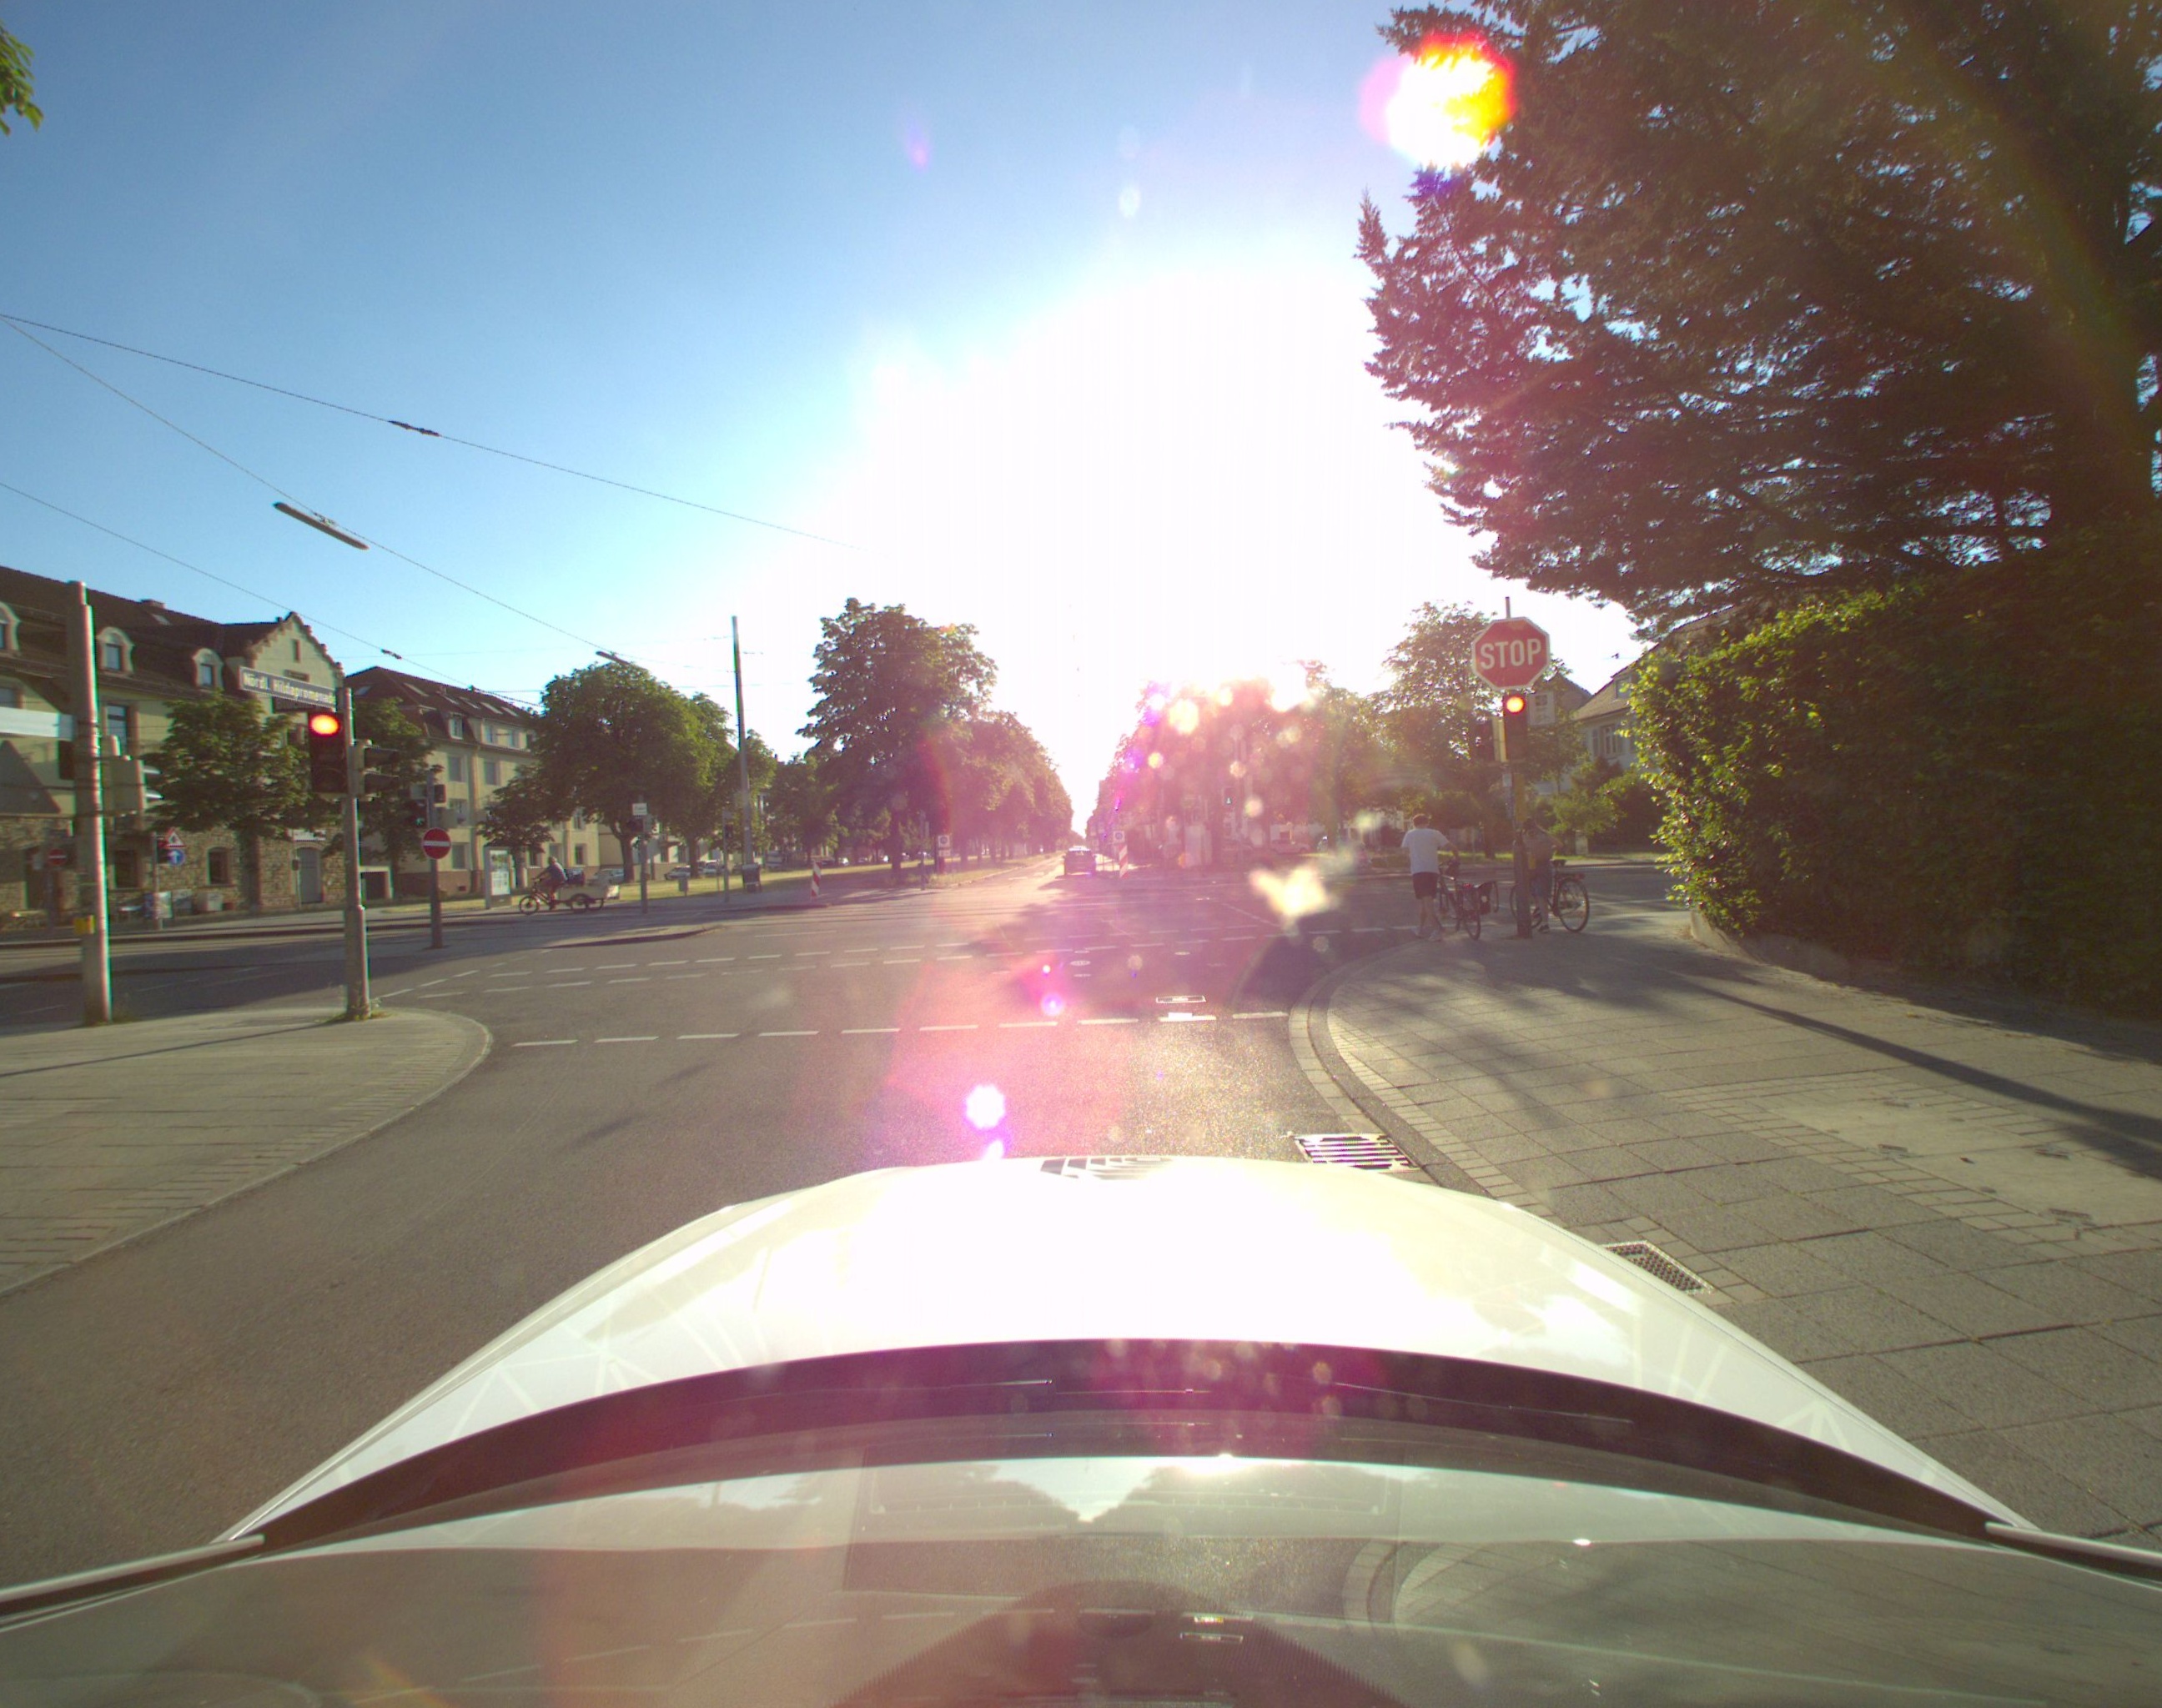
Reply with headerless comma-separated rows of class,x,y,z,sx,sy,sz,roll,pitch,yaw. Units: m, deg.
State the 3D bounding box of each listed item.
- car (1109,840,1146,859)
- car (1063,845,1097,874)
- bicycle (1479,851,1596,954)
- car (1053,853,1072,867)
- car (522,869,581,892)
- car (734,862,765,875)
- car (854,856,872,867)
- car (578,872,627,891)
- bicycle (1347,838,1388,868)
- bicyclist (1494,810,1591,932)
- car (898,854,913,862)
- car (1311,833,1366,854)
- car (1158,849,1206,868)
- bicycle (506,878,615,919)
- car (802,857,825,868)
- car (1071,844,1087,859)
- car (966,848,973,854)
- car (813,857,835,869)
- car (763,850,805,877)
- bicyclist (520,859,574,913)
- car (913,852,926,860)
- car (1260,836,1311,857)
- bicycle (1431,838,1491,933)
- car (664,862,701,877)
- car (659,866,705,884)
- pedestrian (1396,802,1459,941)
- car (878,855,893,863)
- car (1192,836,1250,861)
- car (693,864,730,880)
car,5.356,-0.489,93.443,3.980,1.822,1.757,-3,-5,-5
car,0.006,0.301,44.726,1.719,1.511,4.542,0,0,2
bicycle,6.140,0.598,11.084,0.489,1.183,1.965,0,3,1
car,-1.722,0.597,78.539,1.704,1.359,4.202,0,0,0
car,-43.615,2.169,67.185,1.986,1.736,4.313,0,-1,2
car,-42.190,1.825,103.856,1.986,1.659,4.572,0,-1,2
car,-36.930,1.255,137.912,1.805,1.781,4.123,0,-1,1
car,-43.136,2.460,73.568,1.986,1.659,4.001,0,-1,2
bicycle,11.527,-0.054,32.784,1.513,1.088,0.469,-2,6,9
bicyclist,6.191,0.223,10.967,0.713,1.562,0.890,0,-1,-12
car,-36.334,0.883,168.662,2.016,1.659,3.984,0,-1,1
car,20.756,-0.859,65.664,3.915,1.524,1.521,-1,-1,-5
car,8.762,0.383,70.752,3.975,1.447,1.715,-2,-1,-1
bicycle,-17.296,1.461,27.092,3.059,1.161,0.876,-3,-1,4
car,-42.012,1.328,127.944,1.986,1.659,4.376,0,-1,2
car,-0.243,-0.339,103.938,1.987,1.781,3.999,0,1,-1
car,-34.977,-0.931,255.020,1.649,1.938,3.566,0,-2,-1
car,-37.122,1.271,117.723,1.873,1.674,4.315,0,0,1
car,-37.175,1.132,102.194,2.384,3.131,7.853,0,0,0
bicyclist,-17.767,1.052,27.120,1.139,1.723,0.876,-3,-1,4
car,-37.393,0.404,188.328,1.987,1.658,4.570,-2,0,0
car,16.327,-0.557,65.041,3.548,1.516,1.602,-2,0,-6
bicycle,5.169,0.400,11.148,0.567,1.184,1.915,0,0,20
car,-42.765,1.654,87.495,1.709,1.633,4.192,0,-1,2
car,-37.475,1.951,76.658,1.986,1.659,4.572,0,-1,2
pedestrian,4.910,0.239,11.585,0.622,1.866,0.778,-6,-1,20
car,-41.702,0.987,173.908,1.986,1.659,4.357,0,-1,2
car,11.188,-0.447,65.342,4.228,1.875,2.030,-2,-1,-1
car,-37.310,1.800,82.423,1.791,1.554,4.417,0,1,-2
